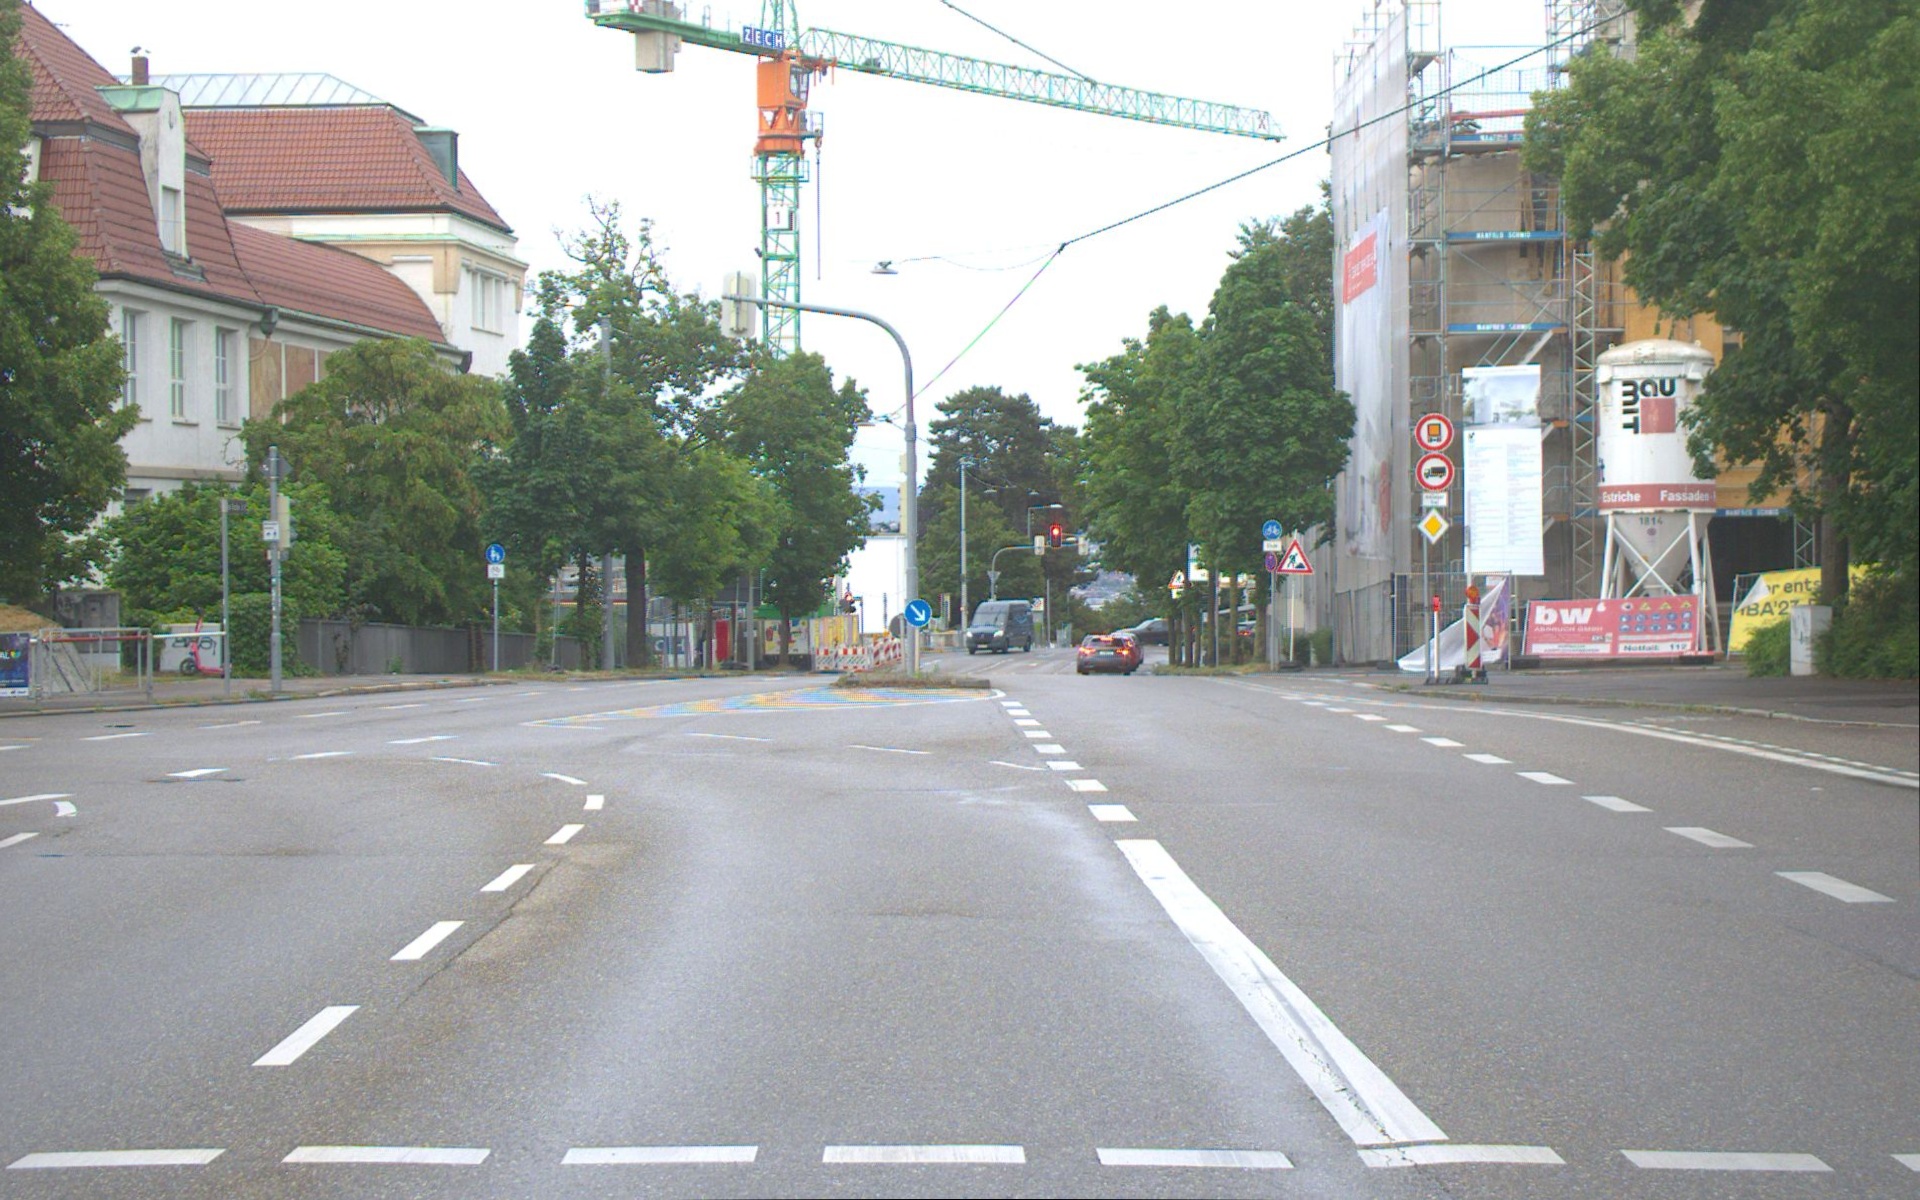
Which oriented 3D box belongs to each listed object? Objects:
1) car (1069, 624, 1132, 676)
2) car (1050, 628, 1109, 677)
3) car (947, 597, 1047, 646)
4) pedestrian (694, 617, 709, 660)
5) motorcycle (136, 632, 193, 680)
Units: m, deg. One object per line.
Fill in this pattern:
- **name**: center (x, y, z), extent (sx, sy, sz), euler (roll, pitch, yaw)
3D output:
- **car**: center (5.063, 1.804, 124.314), extent (1.993, 1.744, 4.000), euler (-1, 1, -1)
- **car**: center (4.533, 1.974, 130.882), extent (1.993, 1.744, 4.000), euler (-1, 1, -1)
- **car**: center (1.916, 1.053, 173.666), extent (2.852, 2.394, 6.180), euler (1, 0, 24)
- **pedestrian**: center (-9.796, 1.458, 130.323), extent (0.493, 1.640, 0.533), euler (0, 0, 2)
- **motorcycle**: center (-14.808, 1.035, 64.025), extent (0.849, 0.874, 0.877), euler (0, 0, 0)
